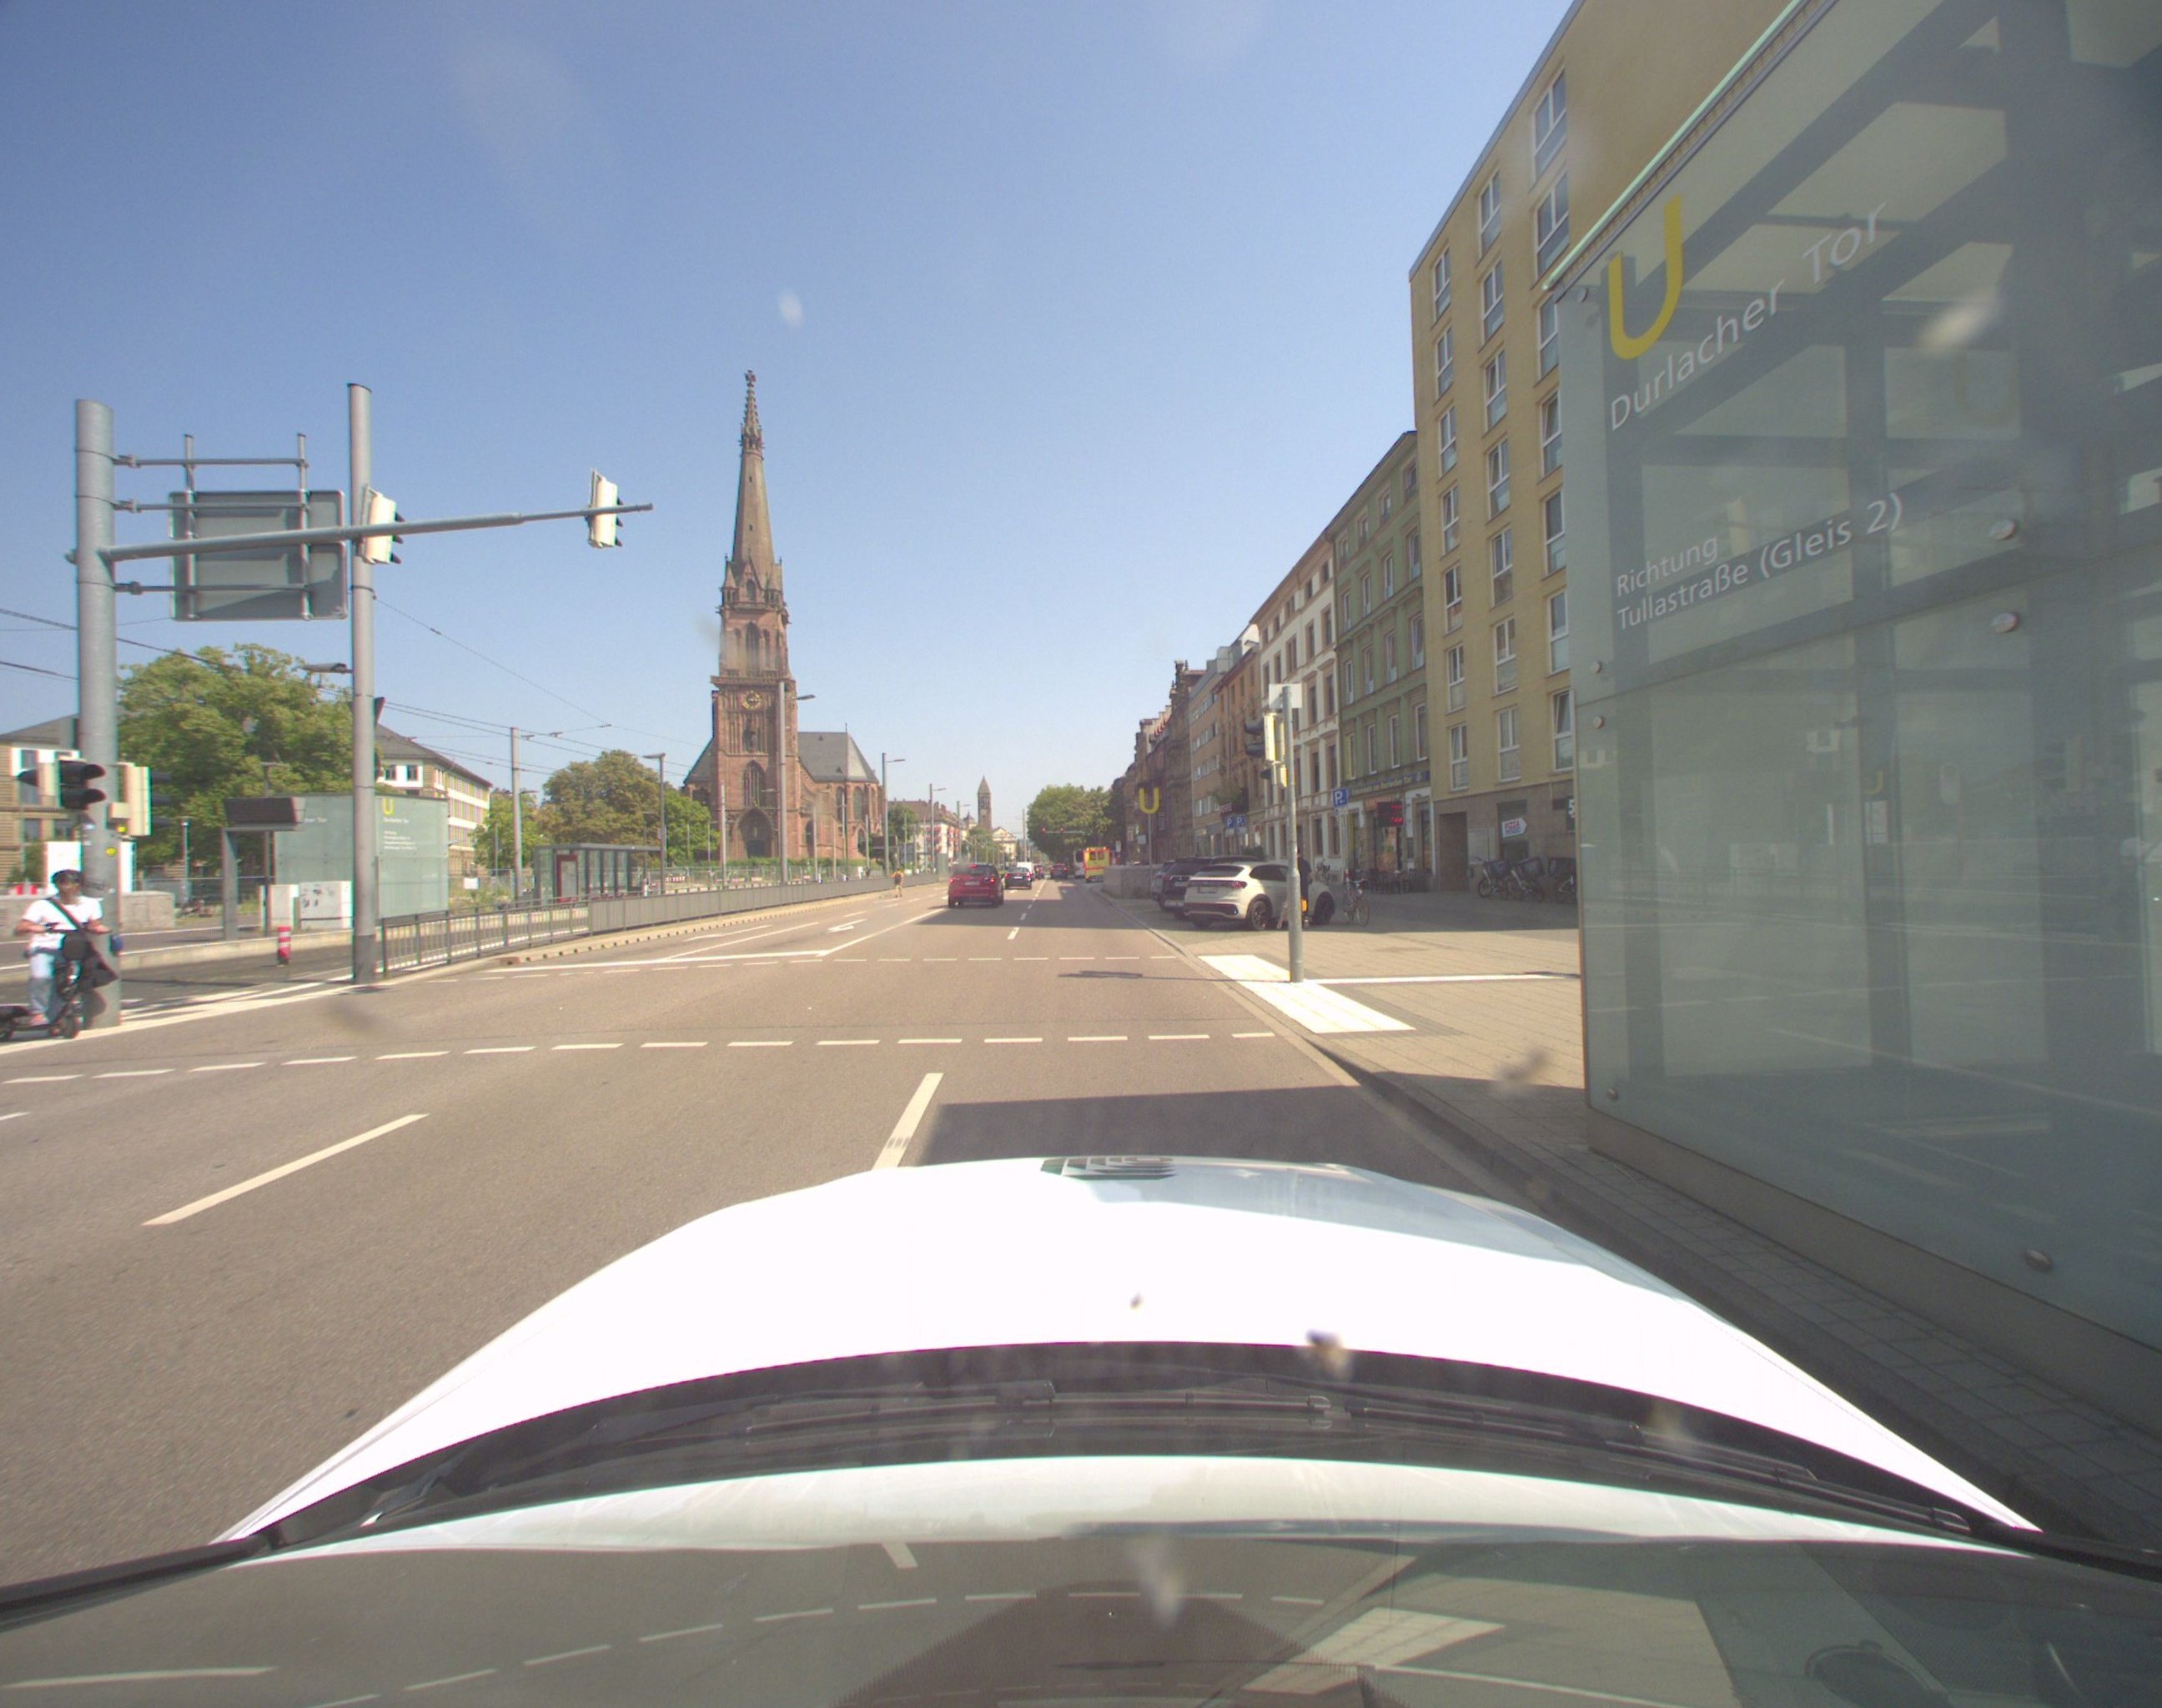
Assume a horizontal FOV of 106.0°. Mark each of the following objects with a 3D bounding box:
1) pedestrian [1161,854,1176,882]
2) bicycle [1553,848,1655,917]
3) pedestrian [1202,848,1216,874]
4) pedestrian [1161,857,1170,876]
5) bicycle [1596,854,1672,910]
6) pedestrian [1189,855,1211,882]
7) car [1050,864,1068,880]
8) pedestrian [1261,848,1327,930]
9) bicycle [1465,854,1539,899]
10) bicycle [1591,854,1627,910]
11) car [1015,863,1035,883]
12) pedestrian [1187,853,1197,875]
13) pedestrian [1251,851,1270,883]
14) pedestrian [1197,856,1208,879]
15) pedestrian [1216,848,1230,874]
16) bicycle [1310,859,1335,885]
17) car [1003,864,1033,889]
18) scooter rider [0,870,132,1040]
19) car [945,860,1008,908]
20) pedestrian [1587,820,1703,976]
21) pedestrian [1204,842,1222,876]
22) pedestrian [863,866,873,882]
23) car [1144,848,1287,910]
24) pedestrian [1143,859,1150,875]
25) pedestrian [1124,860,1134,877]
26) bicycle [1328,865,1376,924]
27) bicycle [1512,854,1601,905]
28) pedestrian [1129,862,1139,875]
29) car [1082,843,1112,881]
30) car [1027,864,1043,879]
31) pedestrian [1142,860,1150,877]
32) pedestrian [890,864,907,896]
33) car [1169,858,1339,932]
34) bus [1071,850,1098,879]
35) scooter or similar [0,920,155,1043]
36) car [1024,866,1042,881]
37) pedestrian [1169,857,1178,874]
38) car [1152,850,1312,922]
[{"bbox_3d":[5.717,0.896,53.375,0.846,1.729,0.972,-3,1,4],"label":"pedestrian"},{"bbox_3d":[12.081,0.611,18.742,3.380,1.404,0.893,-1,-1,-39],"label":"bicycle"},{"bbox_3d":[8.769,0.463,55.766,0.682,1.774,1.017,-2,0,-3],"label":"pedestrian"},{"bbox_3d":[7.888,1.153,75.940,0.642,1.685,0.788,-2,-1,-3],"label":"pedestrian"},{"bbox_3d":[12.913,0.628,19.078,0.408,1.238,1.824,-2,-1,-4],"label":"bicycle"},{"bbox_3d":[7.193,0.858,49.227,0.856,1.582,0.960,-1,-2,-36],"label":"pedestrian"},{"bbox_3d":[-2.316,1.902,86.315,1.786,1.677,3.994,-1,-2,-3],"label":"car"},{"bbox_3d":[4.597,0.730,17.584,1.041,1.704,0.896,0,-1,-29],"label":"pedestrian"},{"bbox_3d":[12.358,0.637,24.034,0.935,1.238,2.422,-2,0,1],"label":"bicycle"},{"bbox_3d":[12.280,0.633,18.974,0.584,1.238,1.555,-2,-1,30],"label":"bicycle"},{"bbox_3d":[-5.266,1.774,77.065,1.786,1.780,3.994,-1,-2,-3],"label":"car"},{"bbox_3d":[8.797,0.797,64.615,0.576,1.750,0.678,-4,-1,-2],"label":"pedestrian"},{"bbox_3d":[10.571,0.747,47.965,0.841,1.846,0.684,-3,-1,-11],"label":"pedestrian"},{"bbox_3d":[9.600,1.069,64.551,0.598,1.795,0.879,-4,-1,-2],"label":"pedestrian"},{"bbox_3d":[9.689,0.478,55.732,0.682,1.774,1.017,-2,0,-3],"label":"pedestrian"},{"bbox_3d":[11.985,0.867,40.533,0.478,1.146,2.471,-2,1,0],"label":"bicycle"},{"bbox_3d":[-3.948,1.390,51.697,1.786,1.431,3.994,-2,0,-4],"label":"car"},{"bbox_3d":[-10.747,1.015,8.482,0.770,1.673,0.777,-2,-1,-6],"label":"scooter rider"},{"bbox_3d":[-3.772,1.058,30.095,1.757,1.618,4.081,-2,-1,0],"label":"car"},{"bbox_3d":[6.819,0.509,9.885,0.816,1.808,0.814,0,-1,-2],"label":"pedestrian"},{"bbox_3d":[6.720,0.278,41.610,0.669,1.685,0.942,-2,-1,-2],"label":"pedestrian"},{"bbox_3d":[-23.095,2.195,88.395,0.827,1.752,0.720,-2,-2,-2],"label":"pedestrian"},{"bbox_3d":[4.341,0.741,25.744,4.692,1.714,2.019,-1,-1,-44],"label":"car"},{"bbox_3d":[7.010,1.381,87.177,0.694,1.667,1.064,-1,-1,0],"label":"pedestrian"},{"bbox_3d":[4.687,1.393,79.311,0.690,1.667,0.606,-2,-1,24],"label":"pedestrian"},{"bbox_3d":[6.309,0.929,19.014,0.471,1.296,1.791,-2,-2,0],"label":"bicycle"},{"bbox_3d":[12.459,0.648,21.442,0.935,1.238,2.422,-2,0,1],"label":"bicycle"},{"bbox_3d":[7.640,2.070,118.093,1.246,1.751,1.525,-2,1,-2],"label":"pedestrian"},{"bbox_3d":[1.347,0.652,66.923,2.290,2.888,5.601,-3,-1,2],"label":"car"},{"bbox_3d":[-5.241,2.041,93.409,1.786,1.698,3.994,-1,-2,-3],"label":"car"},{"bbox_3d":[6.380,1.401,79.703,0.694,1.667,0.602,-1,-1,0],"label":"pedestrian"},{"bbox_3d":[-10.222,1.474,45.649,0.759,1.752,1.067,-2,-2,-4],"label":"pedestrian"},{"bbox_3d":[4.003,0.864,18.646,3.803,1.500,1.787,1,0,-38],"label":"car"},{"bbox_3d":[0.309,1.202,91.633,2.527,3.032,12.425,-2,-1,-2],"label":"bus"},{"bbox_3d":[-10.796,1.320,8.515,1.335,1.148,0.708,-2,-1,-5],"label":"scooter or similar"},{"bbox_3d":[-5.023,2.035,84.854,1.786,1.473,3.994,-1,-2,-3],"label":"car"},{"bbox_3d":[8.608,1.078,75.963,0.642,1.493,0.788,-2,-1,-3],"label":"pedestrian"},{"bbox_3d":[4.136,0.787,21.876,4.418,1.687,1.962,-1,-1,-44],"label":"car"}]
